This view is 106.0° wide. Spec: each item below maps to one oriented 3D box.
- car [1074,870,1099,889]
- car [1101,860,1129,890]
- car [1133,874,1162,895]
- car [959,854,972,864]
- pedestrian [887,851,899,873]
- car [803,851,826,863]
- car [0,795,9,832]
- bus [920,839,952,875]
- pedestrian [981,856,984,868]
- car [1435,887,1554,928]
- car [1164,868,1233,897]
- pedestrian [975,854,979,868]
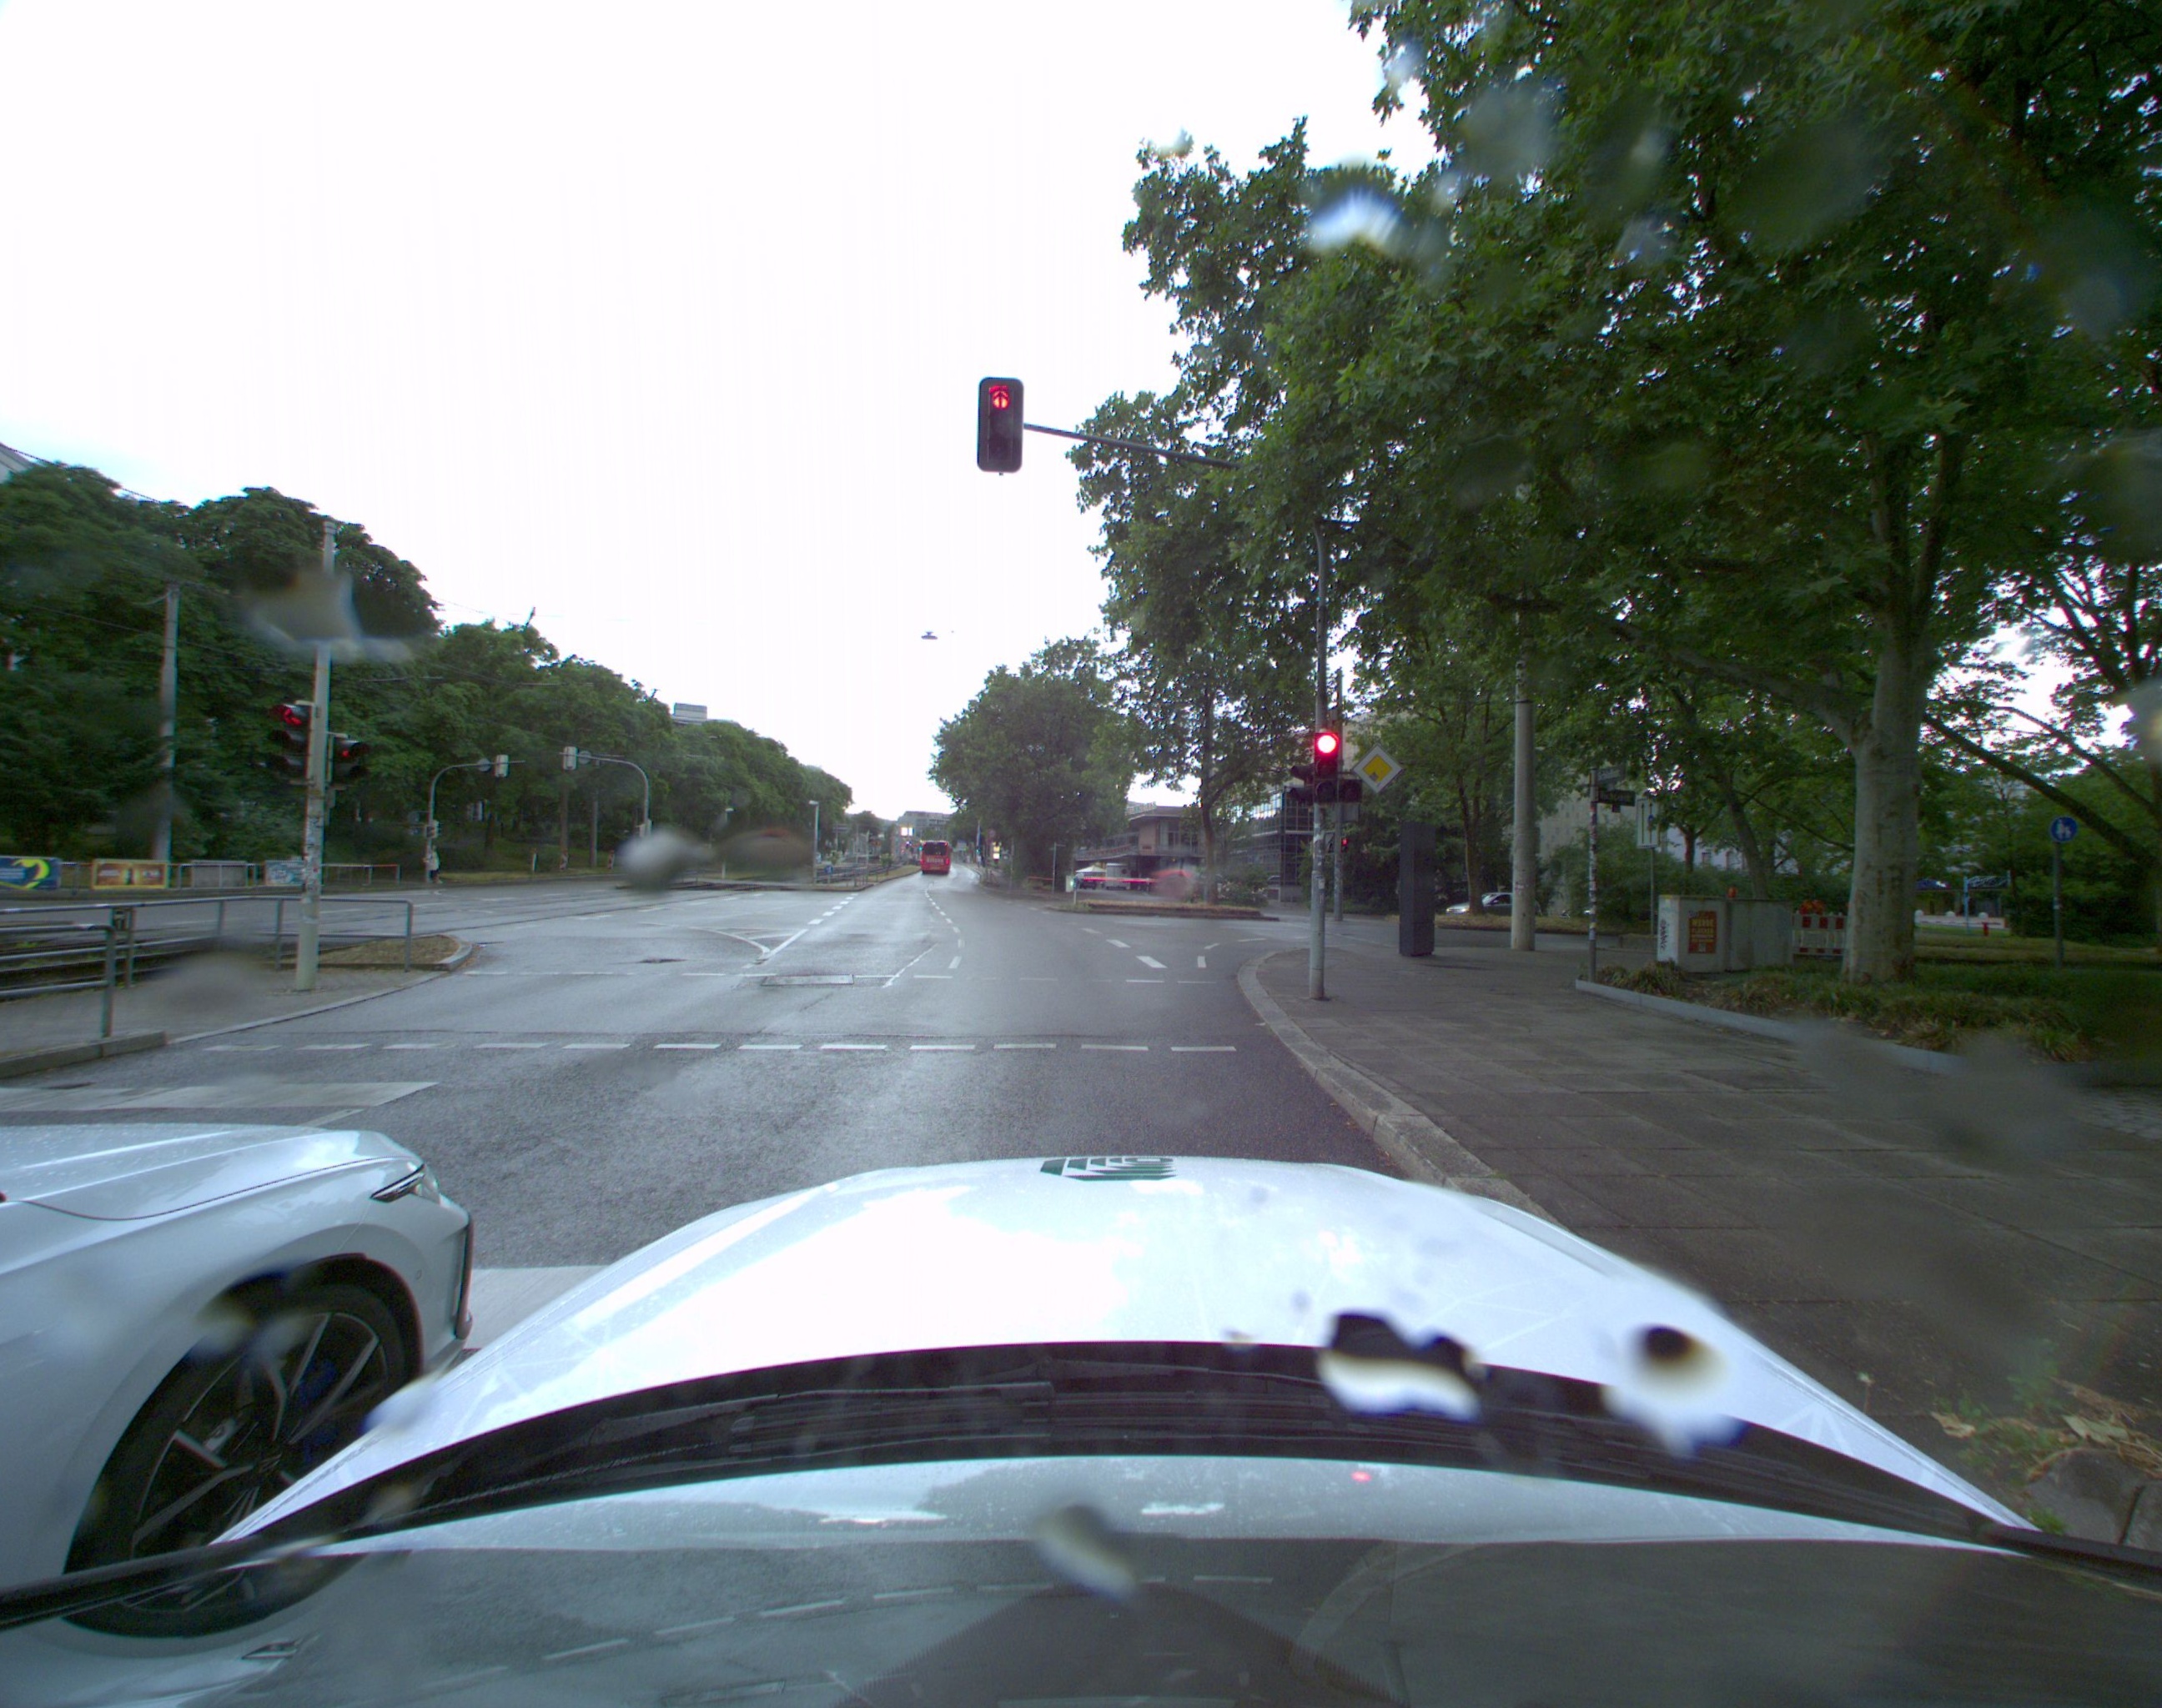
[{"bbox_3d":[0.519,2.707,88.068,1.993,1.860,3.987,3,-2,-9],"label":"car"},{"bbox_3d":[3.765,2.300,90.622,2.539,3.134,5.024,3,-2,-3],"label":"car"},{"bbox_3d":[6.889,3.112,84.420,1.994,2.014,3.985,3,-2,-10],"label":"car"},{"bbox_3d":[-21.461,0.936,150.897,1.995,1.684,3.984,3,-2,-12],"label":"car"},{"bbox_3d":[-14.477,0.642,62.727,0.738,1.640,0.867,3,-2,-13],"label":"pedestrian"},{"bbox_3d":[-33.879,0.388,103.632,1.992,1.519,3.989,2,0,-8],"label":"car"},{"bbox_3d":[-52.939,-2.018,37.905,2.005,1.794,4.172,4,-2,-28],"label":"car"},{"bbox_3d":[-13.866,0.329,78.346,2.654,3.111,9.155,3,-1,-9],"label":"bus"},{"bbox_3d":[-12.688,1.001,104.737,0.370,1.525,0.344,2,-1,1],"label":"pedestrian"},{"bbox_3d":[17.314,2.241,34.209,3.980,1.442,1.997,3,-2,-5],"label":"car"},{"bbox_3d":[8.940,2.144,61.952,4.762,1.943,1.986,3,-2,-20],"label":"car"},{"bbox_3d":[-13.377,0.893,104.570,0.370,1.708,0.644,2,-1,2],"label":"pedestrian"}]
